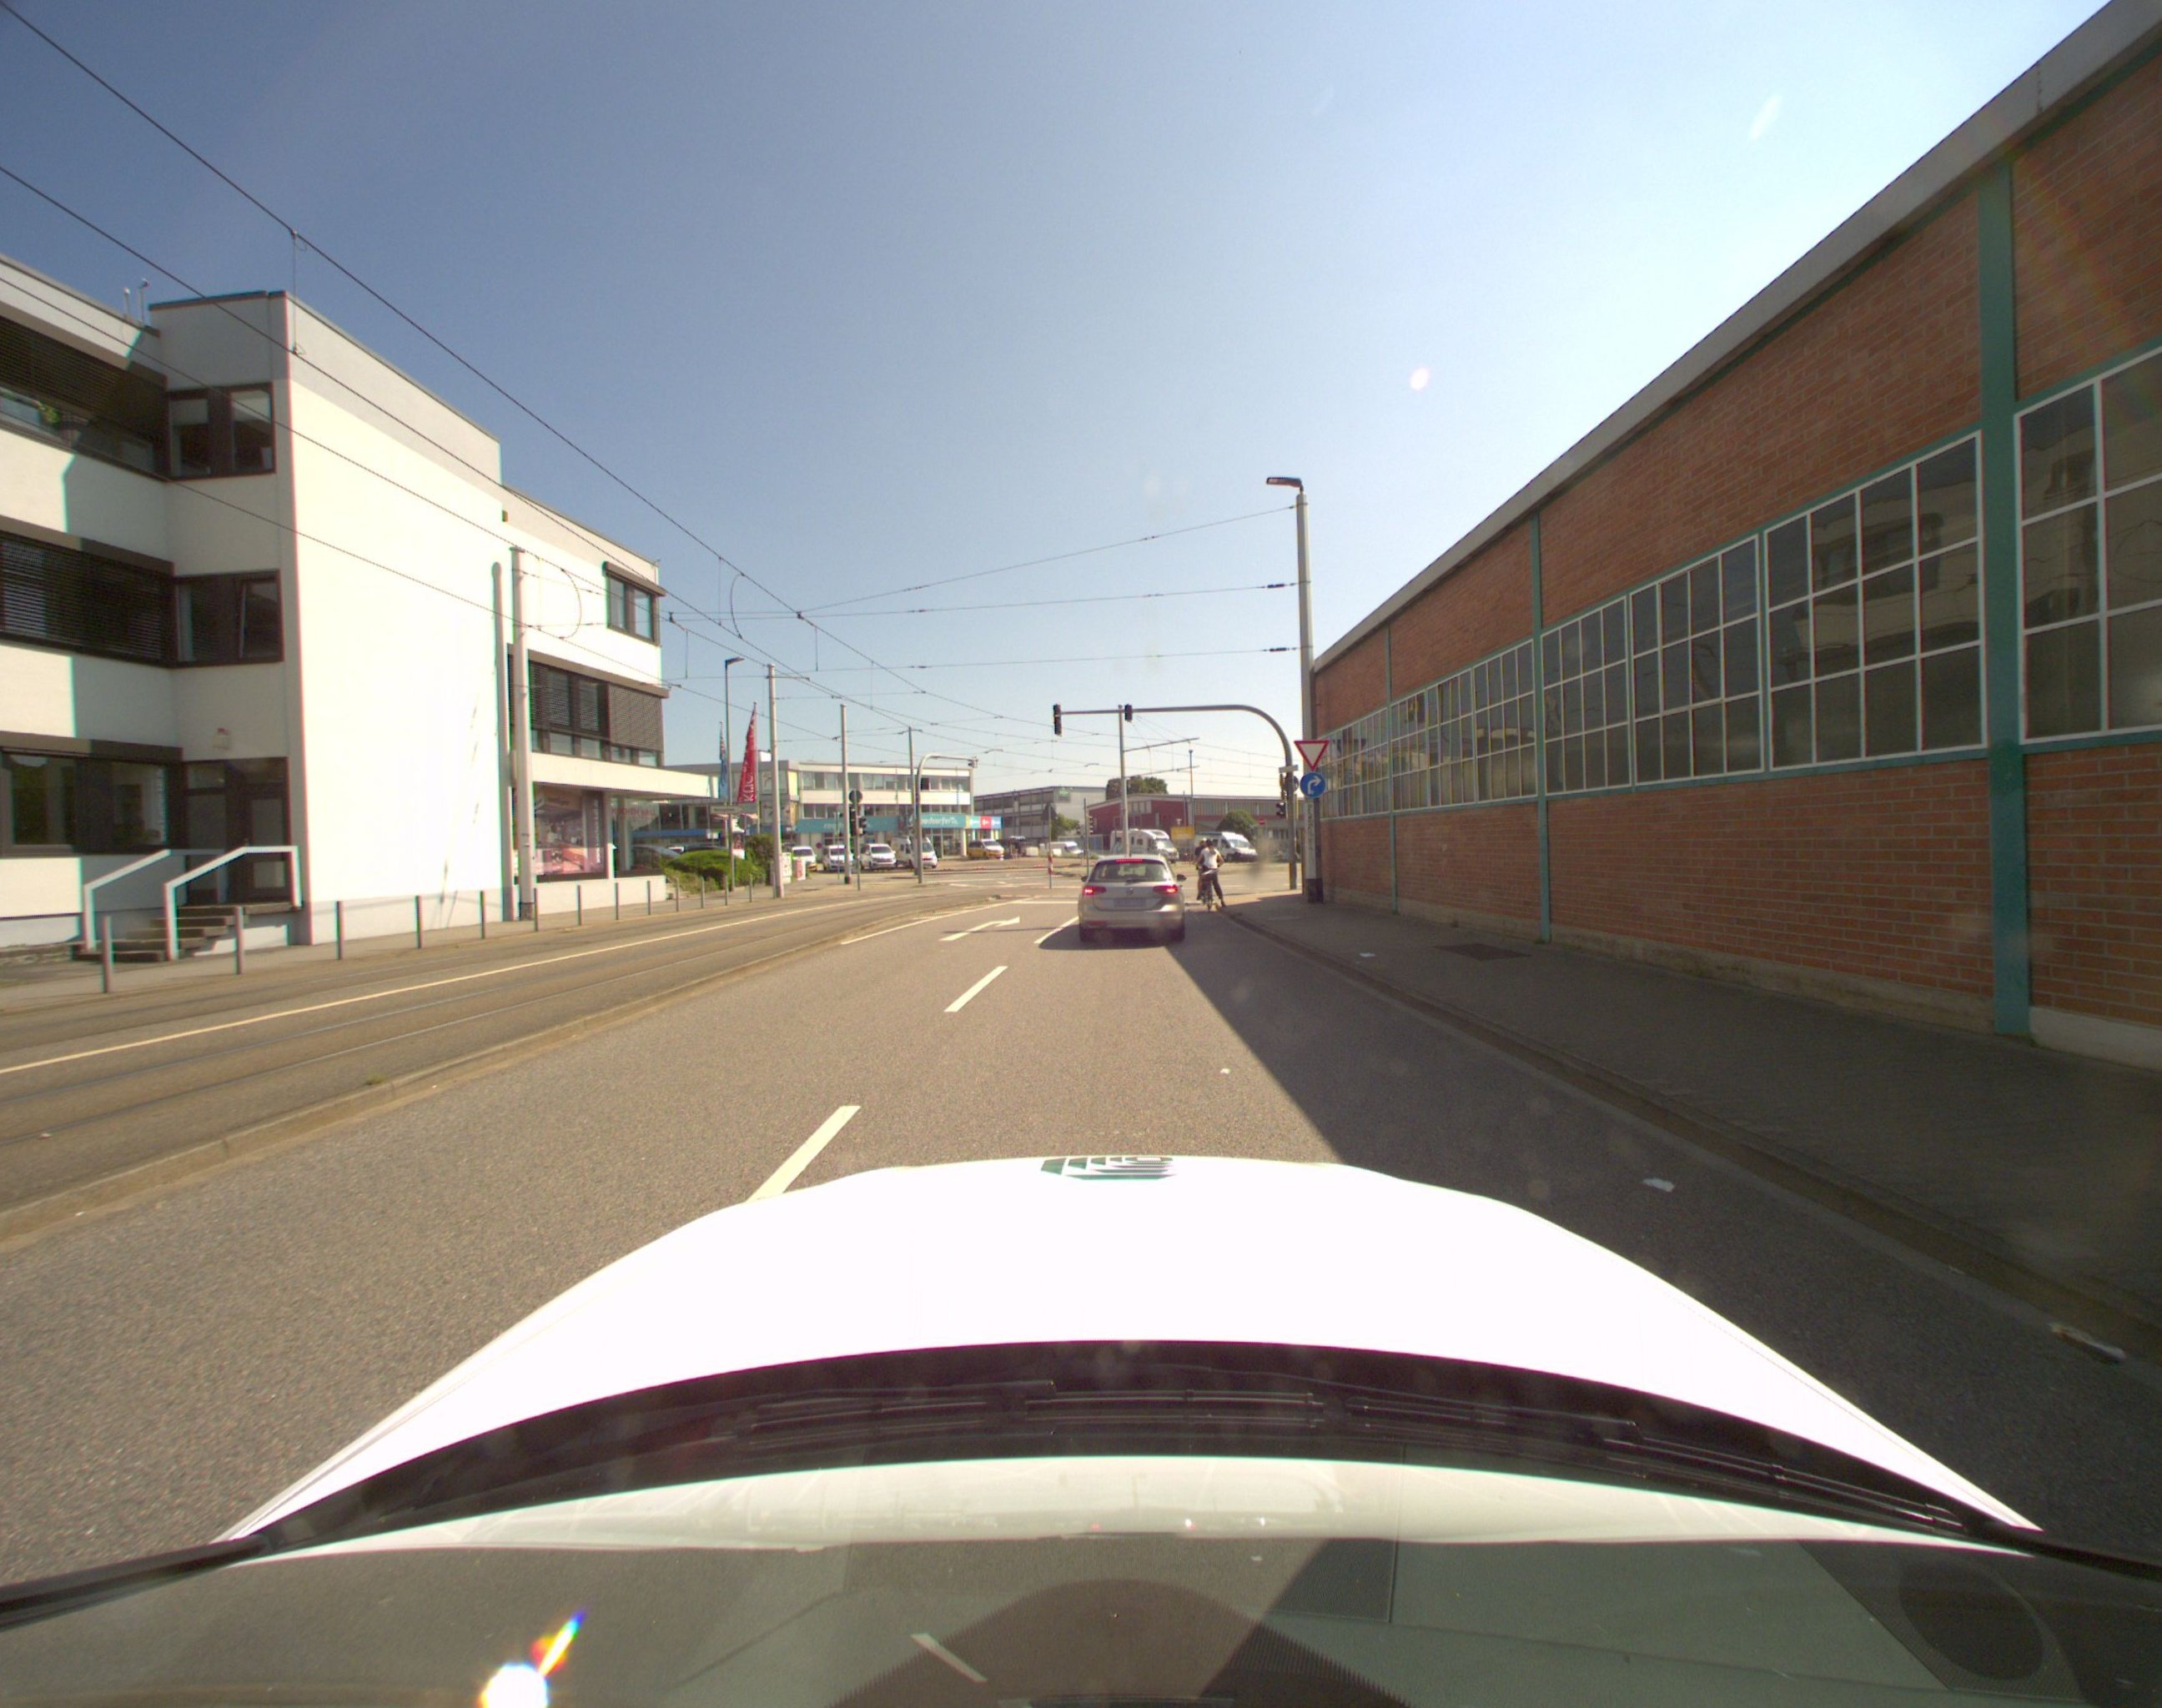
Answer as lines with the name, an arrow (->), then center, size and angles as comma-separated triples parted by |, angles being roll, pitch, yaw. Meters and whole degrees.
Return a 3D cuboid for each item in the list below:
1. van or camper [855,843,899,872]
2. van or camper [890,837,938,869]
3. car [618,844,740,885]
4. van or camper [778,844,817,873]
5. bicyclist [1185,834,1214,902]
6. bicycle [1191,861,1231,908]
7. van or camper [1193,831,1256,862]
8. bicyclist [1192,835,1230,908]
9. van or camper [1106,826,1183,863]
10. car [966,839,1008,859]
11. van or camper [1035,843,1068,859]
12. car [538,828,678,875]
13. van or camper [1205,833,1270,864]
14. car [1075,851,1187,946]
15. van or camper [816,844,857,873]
van or camper -> -15.936, 0.232, 63.428 | 2.006, 2.013, 4.964 | -3, 3, -29
van or camper -> -13.307, -0.122, 64.739 | 2.044, 2.295, 5.759 | -3, 3, -29
car -> -16.587, 0.416, 33.707 | 3.970, 1.518, 2.003 | -1, 2, 3
van or camper -> -21.932, 0.312, 62.896 | 2.006, 2.013, 4.718 | -3, 3, -29
bicyclist -> 3.269, 0.379, 22.527 | 0.705, 1.810, 0.984 | -1, 0, 3
bicycle -> 3.130, 0.718, 19.831 | 0.790, 1.021, 2.153 | -1, 0, 5
van or camper -> 12.428, -0.689, 70.842 | 2.299, 2.439, 5.329 | -3, 4, -35
bicyclist -> 3.153, 0.414, 19.795 | 0.782, 1.721, 1.148 | -1, 0, 4
van or camper -> 5.402, -0.868, 69.991 | 2.367, 2.930, 6.904 | -3, 3, -41
car -> -9.084, -0.459, 78.379 | 1.952, 1.759, 5.070 | -2, 0, -32
van or camper -> -3.837, -0.349, 104.752 | 3.950, 1.947, 2.012 | -1, 0, 45
car -> -17.288, -0.085, 29.900 | 3.970, 1.563, 2.002 | -1, 0, 3
van or camper -> 14.291, -0.564, 74.758 | 2.299, 2.611, 5.829 | -3, 3, -35
car -> 0.934, 0.702, 14.986 | 1.738, 1.459, 4.004 | -2, 0, 4
van or camper -> -18.879, 0.324, 62.835 | 2.006, 2.013, 4.718 | -3, 3, -29
